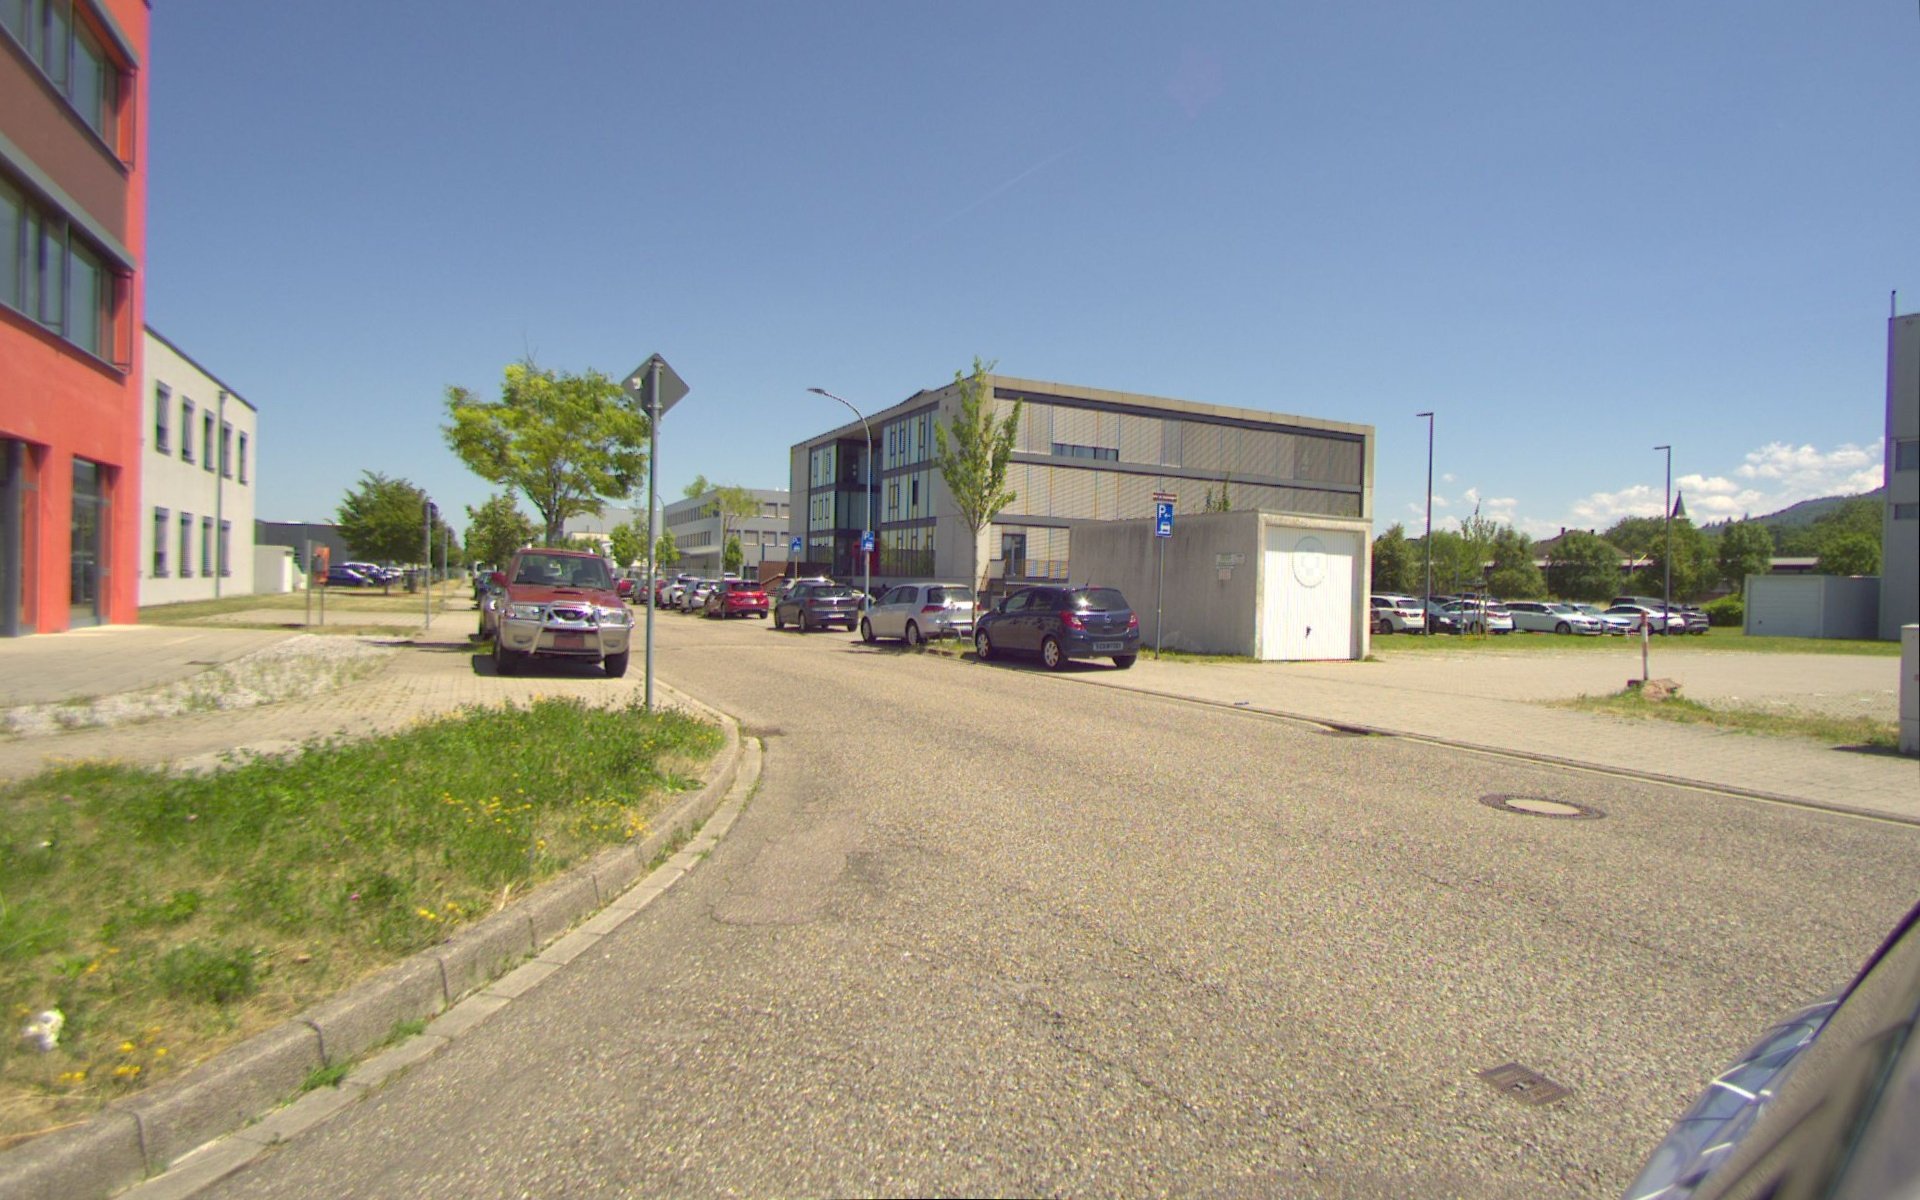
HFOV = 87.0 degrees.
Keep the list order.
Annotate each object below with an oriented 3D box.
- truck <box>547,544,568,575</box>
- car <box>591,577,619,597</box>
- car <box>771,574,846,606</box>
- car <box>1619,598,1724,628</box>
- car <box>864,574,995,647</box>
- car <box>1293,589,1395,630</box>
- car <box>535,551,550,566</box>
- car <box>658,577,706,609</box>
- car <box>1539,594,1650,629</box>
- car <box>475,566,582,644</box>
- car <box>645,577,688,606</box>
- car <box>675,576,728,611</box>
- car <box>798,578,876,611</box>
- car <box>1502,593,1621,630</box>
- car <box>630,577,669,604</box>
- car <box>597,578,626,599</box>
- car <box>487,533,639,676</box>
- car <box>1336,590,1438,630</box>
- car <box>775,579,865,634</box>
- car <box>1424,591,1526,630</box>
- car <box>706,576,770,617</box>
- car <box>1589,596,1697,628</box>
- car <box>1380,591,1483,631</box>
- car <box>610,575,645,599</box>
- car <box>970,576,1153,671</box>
[{"bbox_3d":[-48.408,-4.796,121.631,1.766,3.631,7.446,1,1,-26],"label":"truck"},{"bbox_3d":[-28.168,-1.040,80.162,1.625,1.487,3.634,-2,2,-26],"label":"car"},{"bbox_3d":[-7.781,-0.547,52.251,1.652,1.487,3.574,0,2,42],"label":"car"},{"bbox_3d":[35.853,0.623,51.098,1.625,1.404,4.064,0,1,-26],"label":"car"},{"bbox_3d":[-0.791,0.180,23.683,1.625,1.519,3.633,-2,2,-28],"label":"car"},{"bbox_3d":[15.079,0.342,39.917,1.625,1.519,3.634,0,1,-26],"label":"car"},{"bbox_3d":[-58.592,-5.833,142.032,1.860,2.039,4.008,1,1,-23],"label":"car"},{"bbox_3d":[-13.924,-0.372,50.615,1.625,1.487,3.634,-2,2,-26],"label":"car"},{"bbox_3d":[29.185,0.494,46.657,1.625,1.485,4.064,0,1,-26],"label":"car"},{"bbox_3d":[-9.423,0.064,21.938,1.751,1.460,3.713,4,0,-28],"label":"car"},{"bbox_3d":[-16.156,-0.511,55.537,1.625,1.487,3.634,-2,2,-26],"label":"car"},{"bbox_3d":[-11.846,-0.321,46.219,1.625,1.487,3.634,-2,2,-26],"label":"car"},{"bbox_3d":[-5.984,-0.290,49.449,1.652,1.487,3.574,0,2,42],"label":"car"},{"bbox_3d":[26.986,0.479,45.570,1.674,1.485,4.379,0,1,-26],"label":"car"},{"bbox_3d":[-18.471,-0.578,60.062,1.625,1.487,3.634,-2,2,-26],"label":"car"},{"bbox_3d":[-25.940,-0.875,75.269,1.625,1.487,3.634,-2,2,-26],"label":"car"},{"bbox_3d":[-5.967,0.061,15.100,1.772,1.798,4.007,3,-1,-23],"label":"car"},{"bbox_3d":[17.313,0.360,41.153,1.625,1.519,3.634,0,1,-26],"label":"car"},{"bbox_3d":[-4.285,0.135,30.573,1.625,1.487,3.634,-2,2,-26],"label":"car"},{"bbox_3d":[21.956,0.414,43.292,1.625,1.519,3.634,0,1,-26],"label":"car"},{"bbox_3d":[-8.815,-0.185,39.955,1.625,1.487,3.634,-2,2,-26],"label":"car"},{"bbox_3d":[33.153,0.546,49.215,1.625,1.443,4.064,0,1,-26],"label":"car"},{"bbox_3d":[19.443,0.417,41.878,1.625,1.554,3.634,0,1,-26],"label":"car"},{"bbox_3d":[-22.003,-0.873,66.897,1.625,1.487,3.634,-2,2,-26],"label":"car"},{"bbox_3d":[1.755,0.338,18.628,1.649,1.519,3.634,-2,2,-26],"label":"car"}]
